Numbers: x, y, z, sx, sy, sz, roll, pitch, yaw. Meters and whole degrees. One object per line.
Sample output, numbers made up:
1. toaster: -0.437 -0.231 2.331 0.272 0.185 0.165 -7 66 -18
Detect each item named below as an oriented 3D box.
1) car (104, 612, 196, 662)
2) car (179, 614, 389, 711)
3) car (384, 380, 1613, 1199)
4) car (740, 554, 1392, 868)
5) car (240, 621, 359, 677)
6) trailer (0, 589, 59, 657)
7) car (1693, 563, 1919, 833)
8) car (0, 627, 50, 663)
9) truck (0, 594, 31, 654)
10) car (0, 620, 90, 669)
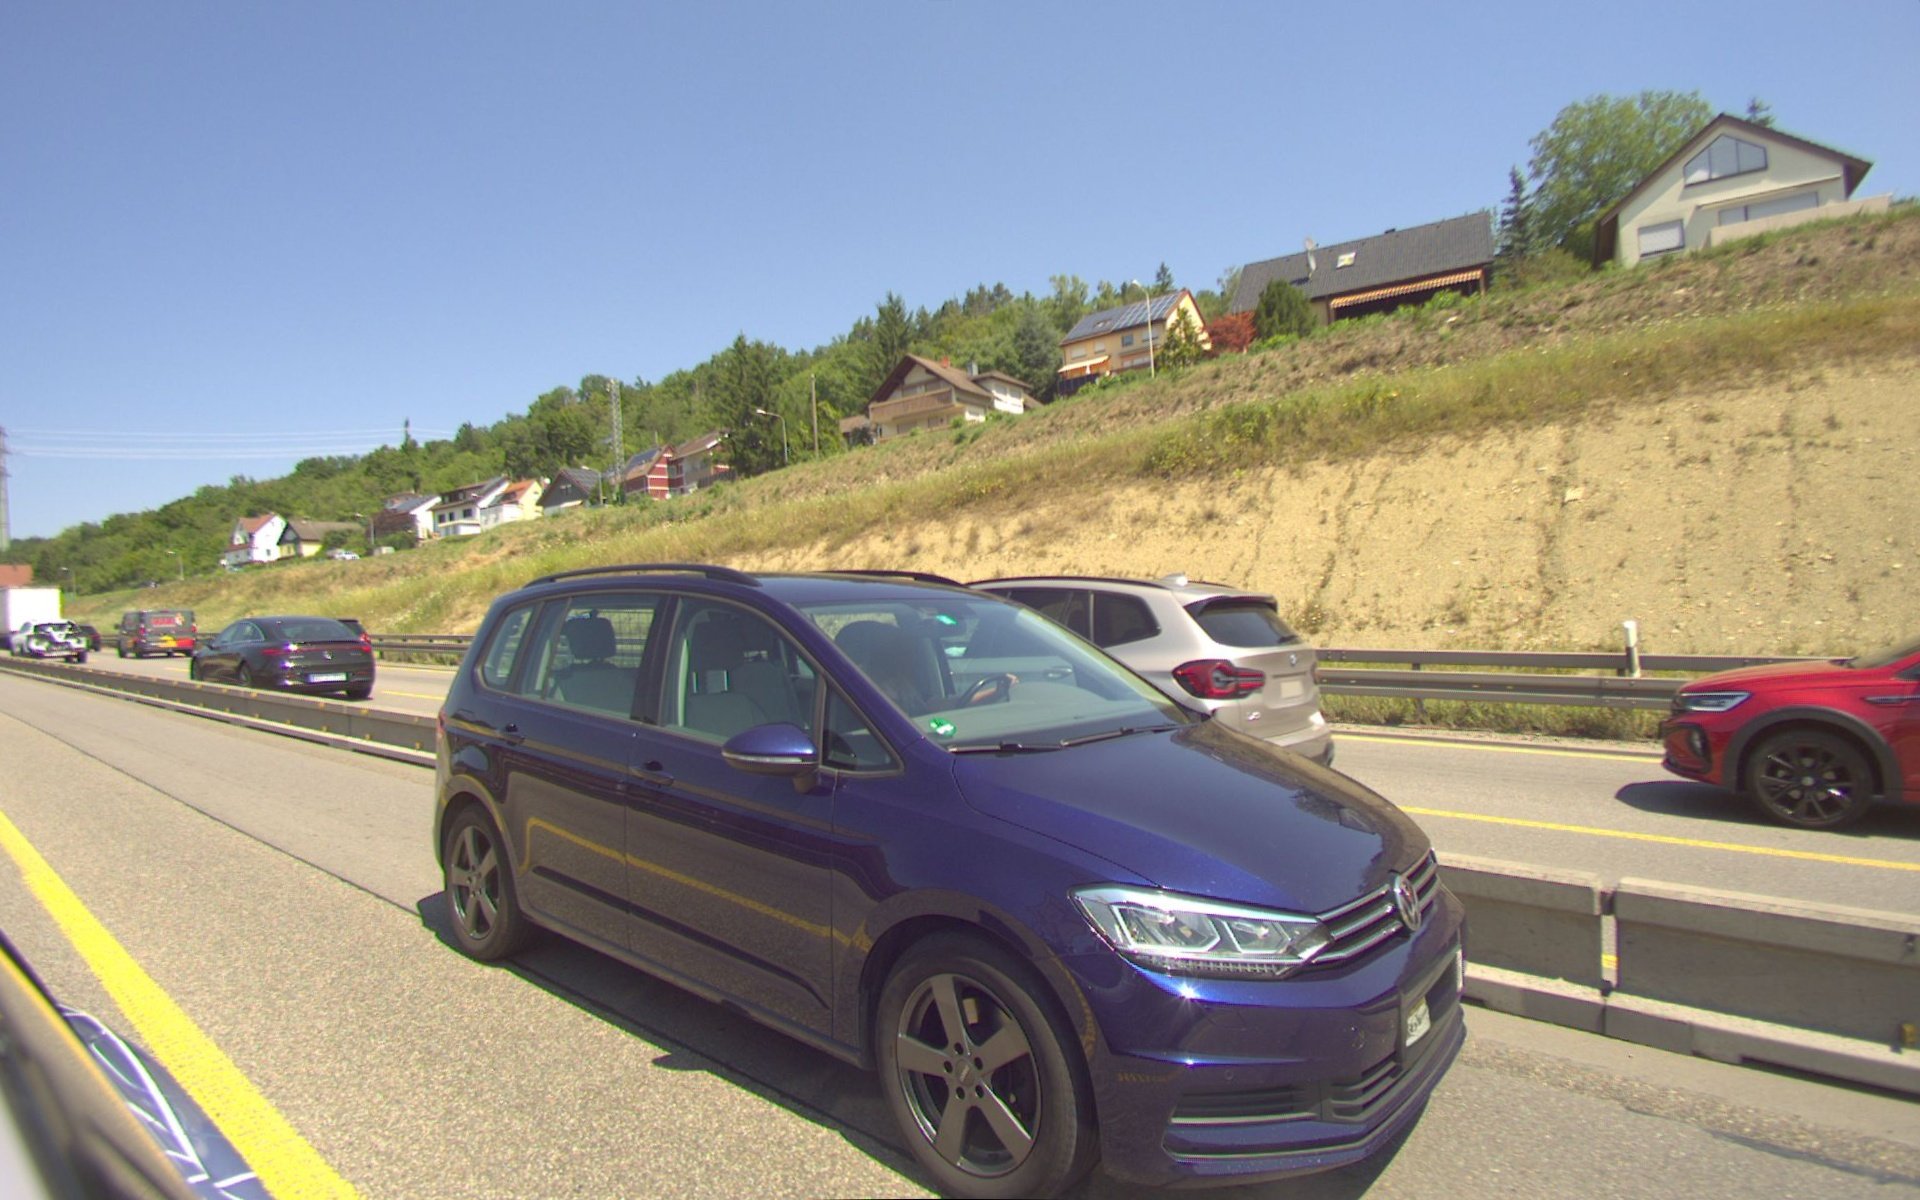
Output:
1. car: -33.381 1.497 41.641 5.117 1.941 2.017 -2 -2 40
2. car: -12.534 1.054 18.614 5.087 1.510 1.935 -1 0 41
3. car: -0.389 0.566 3.912 4.650 1.731 1.757 -3 -1 41
4. car: 0.528 0.624 7.648 4.686 1.678 1.826 -1 0 41
5. car: -18.435 1.323 28.169 4.240 1.429 1.692 -2 -1 41
6. trailer: -63.832 1.593 68.319 13.970 4.213 2.757 -2 -1 41
7. car: 7.337 0.539 5.650 5.123 1.597 1.667 -1 0 41
8. car: -39.763 1.882 42.576 4.240 1.429 1.692 -2 -1 41
9. truck: -69.308 1.752 73.047 5.285 4.213 2.717 -2 -1 41
10. car: -34.020 1.611 37.555 5.367 1.667 1.820 -2 -2 41
